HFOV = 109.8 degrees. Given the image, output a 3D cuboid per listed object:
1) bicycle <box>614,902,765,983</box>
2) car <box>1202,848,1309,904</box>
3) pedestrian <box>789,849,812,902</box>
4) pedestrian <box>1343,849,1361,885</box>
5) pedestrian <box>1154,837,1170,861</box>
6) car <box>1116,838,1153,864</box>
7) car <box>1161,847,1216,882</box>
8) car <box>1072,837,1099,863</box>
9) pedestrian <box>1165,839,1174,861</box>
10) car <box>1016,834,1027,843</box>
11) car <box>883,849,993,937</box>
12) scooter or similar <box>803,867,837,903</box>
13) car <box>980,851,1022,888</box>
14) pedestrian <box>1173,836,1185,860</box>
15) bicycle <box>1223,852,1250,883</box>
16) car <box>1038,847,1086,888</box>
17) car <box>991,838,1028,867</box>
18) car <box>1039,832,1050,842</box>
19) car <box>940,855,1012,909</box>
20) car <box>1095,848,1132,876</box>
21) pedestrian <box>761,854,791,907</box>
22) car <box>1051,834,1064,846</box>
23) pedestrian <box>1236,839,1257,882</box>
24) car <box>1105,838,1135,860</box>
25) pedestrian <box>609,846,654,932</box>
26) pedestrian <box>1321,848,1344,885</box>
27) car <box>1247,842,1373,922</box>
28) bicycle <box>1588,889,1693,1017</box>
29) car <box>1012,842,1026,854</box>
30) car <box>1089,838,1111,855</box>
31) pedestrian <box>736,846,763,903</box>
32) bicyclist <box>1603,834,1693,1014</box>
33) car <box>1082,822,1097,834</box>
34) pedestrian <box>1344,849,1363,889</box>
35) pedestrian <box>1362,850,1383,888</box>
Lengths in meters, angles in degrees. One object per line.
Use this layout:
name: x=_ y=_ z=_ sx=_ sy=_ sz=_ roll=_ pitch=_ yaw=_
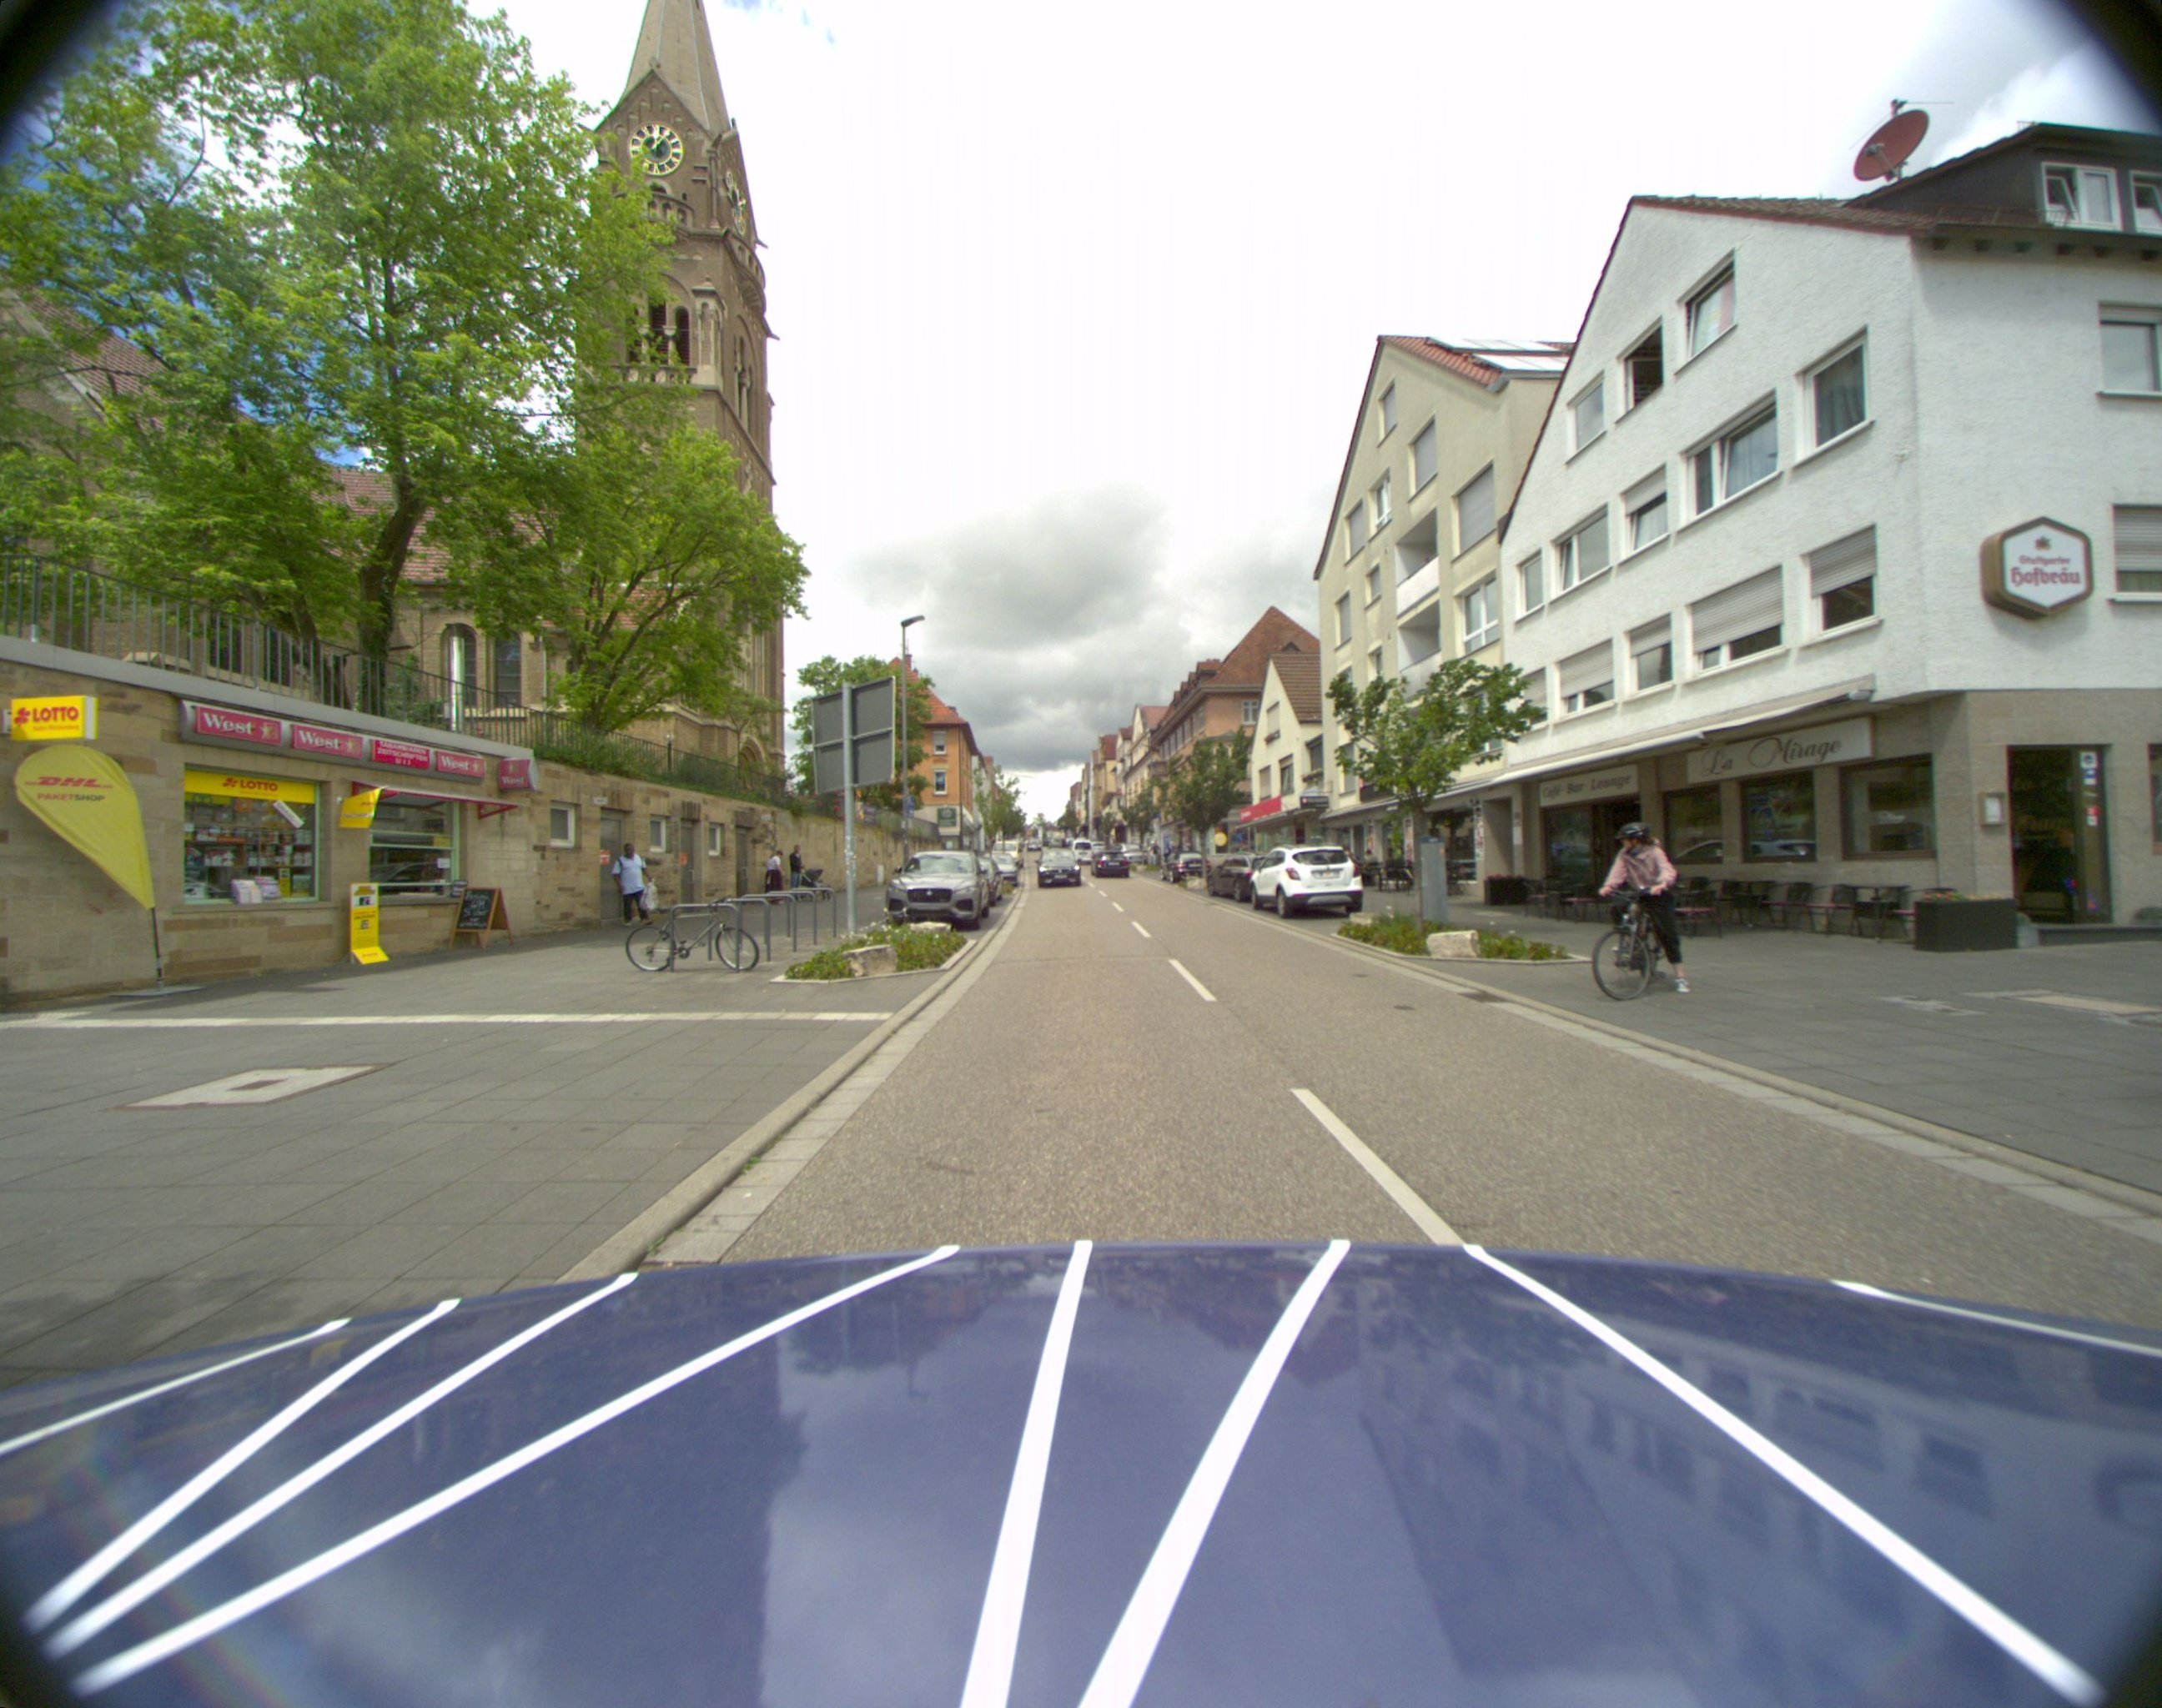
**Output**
bicycle: x=-5.074 y=1.136 z=9.897 sx=1.732 sy=0.990 sz=0.345 roll=0 pitch=1 yaw=-7
car: x=5.267 y=0.599 z=23.561 sx=1.845 sy=1.443 sz=4.512 roll=-3 pitch=1 yaw=-6
pedestrian: x=-8.659 y=0.655 z=23.470 sx=0.474 sy=1.636 sz=0.507 roll=0 pitch=2 yaw=8
pedestrian: x=9.476 y=0.437 z=26.589 sx=0.396 sy=1.242 sz=0.500 roll=-2 pitch=1 yaw=-3
pedestrian: x=5.670 y=-0.380 z=53.125 sx=0.873 sy=1.657 sz=0.906 roll=-2 pitch=2 yaw=-5
car: x=3.563 y=-0.228 z=51.082 sx=1.730 sy=1.565 sz=4.451 roll=-2 pitch=2 yaw=-5
car: x=4.752 y=0.423 z=34.226 sx=1.661 sy=1.384 sz=4.441 roll=-2 pitch=2 yaw=-2
car: x=0.301 y=-0.330 z=55.824 sx=1.751 sy=1.792 sz=4.210 roll=1 pitch=1 yaw=-2
pedestrian: x=5.985 y=-0.281 z=51.217 sx=0.497 sy=1.469 sz=0.528 roll=-2 pitch=2 yaw=-5
car: x=-9.261 y=-2.483 z=119.072 sx=1.690 sy=1.366 sz=3.526 roll=-1 pitch=2 yaw=-4
car: x=-3.082 y=0.757 z=17.260 sx=1.934 sy=1.714 sz=4.571 roll=0 pitch=1 yaw=-4
scooter or similar: x=-8.048 y=0.954 z=23.461 sx=0.813 sy=1.066 sz=0.560 roll=0 pitch=2 yaw=8
car: x=-3.563 y=0.642 z=34.185 sx=1.760 sy=1.433 sz=4.086 roll=0 pitch=2 yaw=-5
pedestrian: x=6.593 y=-0.405 z=51.121 sx=0.615 sy=1.573 sz=0.641 roll=-2 pitch=2 yaw=-5
bicycle: x=6.054 y=0.500 z=29.603 sx=0.485 sy=1.100 sz=1.906 roll=-2 pitch=1 yaw=-4
car: x=-0.889 y=0.560 z=33.318 sx=1.895 sy=1.516 sz=3.733 roll=-3 pitch=2 yaw=-4
car: x=-4.833 y=-0.140 z=51.968 sx=1.889 sy=1.837 sz=5.029 roll=0 pitch=2 yaw=1
car: x=-6.329 y=-2.982 z=131.875 sx=1.895 sy=1.670 sz=3.733 roll=1 pitch=2 yaw=-4
car: x=-3.184 y=0.797 z=23.798 sx=1.685 sy=1.409 sz=4.370 roll=-1 pitch=1 yaw=-1
car: x=1.659 y=0.395 z=39.801 sx=1.611 sy=1.380 sz=3.627 roll=0 pitch=1 yaw=-2
pedestrian: x=-8.792 y=0.751 z=21.909 sx=0.590 sy=1.515 sz=0.584 roll=0 pitch=1 yaw=4
car: x=-3.194 y=-1.933 z=102.981 sx=1.686 sy=1.492 sz=4.150 roll=0 pitch=2 yaw=-4
pedestrian: x=6.970 y=0.264 z=32.048 sx=0.662 sy=1.751 sz=0.777 roll=-2 pitch=2 yaw=-1
car: x=2.952 y=-0.435 z=58.331 sx=1.669 sy=1.518 sz=3.960 roll=-3 pitch=2 yaw=-5
pedestrian: x=-9.220 y=0.706 z=15.614 sx=0.764 sy=1.720 sz=0.596 roll=1 pitch=1 yaw=-28
pedestrian: x=8.819 y=0.425 z=26.636 sx=0.551 sy=1.260 sz=0.598 roll=-2 pitch=2 yaw=-3
car: x=5.337 y=0.580 z=18.259 sx=1.670 sy=1.637 sz=4.132 roll=-3 pitch=1 yaw=-1
bicycle: x=5.616 y=0.932 z=7.594 sx=1.657 sy=1.081 sz=0.412 roll=-1 pitch=1 yaw=-38
car: x=-7.870 y=-0.783 z=96.780 sx=1.775 sy=1.516 sz=3.526 roll=-1 pitch=2 yaw=-4
car: x=1.779 y=-0.736 z=71.984 sx=1.732 sy=1.423 sz=3.501 roll=-1 pitch=2 yaw=-4
pedestrian: x=-9.560 y=0.585 z=21.933 sx=0.474 sy=1.636 sz=0.507 roll=0 pitch=2 yaw=8
bicyclist: x=5.625 y=0.652 z=7.540 sx=0.779 sy=1.685 sz=0.508 roll=-1 pitch=1 yaw=-37
car: x=1.036 y=-3.358 z=97.926 sx=1.690 sy=1.516 sz=3.526 roll=-1 pitch=2 yaw=-4
pedestrian: x=8.983 y=0.492 z=25.055 sx=0.422 sy=1.292 sz=0.454 roll=-2 pitch=1 yaw=-3
pedestrian: x=9.668 y=0.495 z=25.189 sx=0.428 sy=1.242 sz=0.566 roll=-2 pitch=1 yaw=-3
